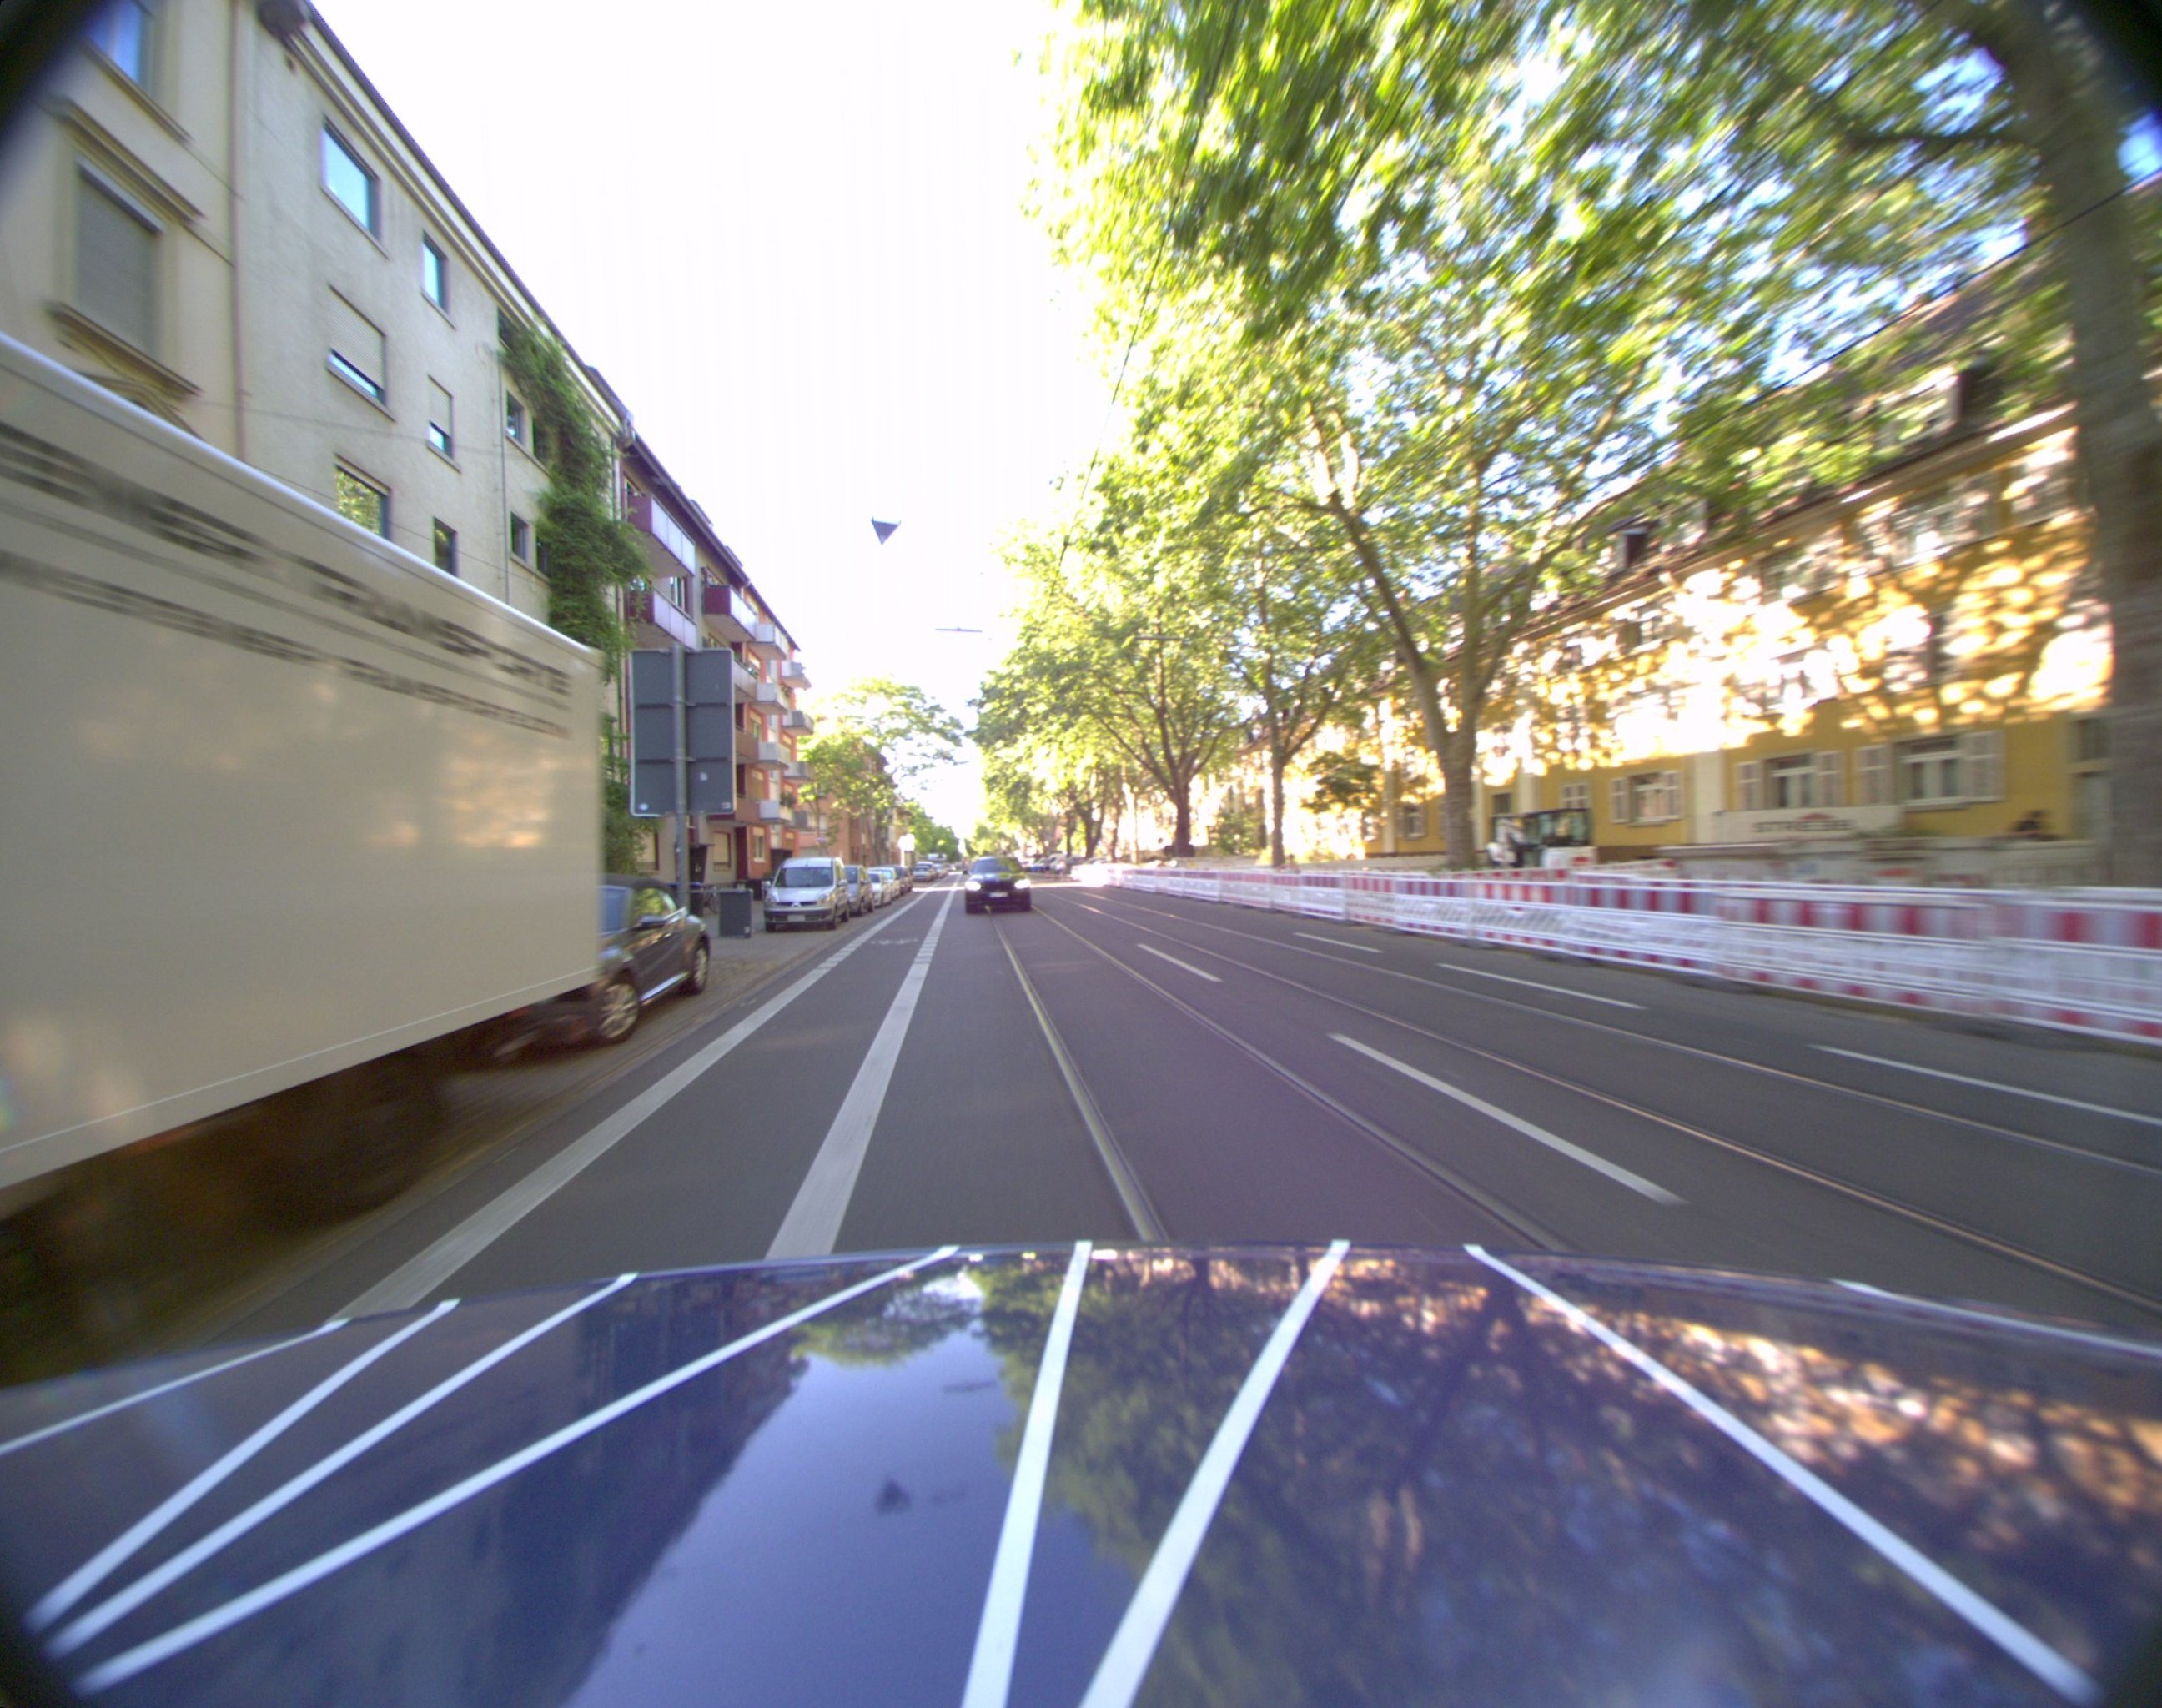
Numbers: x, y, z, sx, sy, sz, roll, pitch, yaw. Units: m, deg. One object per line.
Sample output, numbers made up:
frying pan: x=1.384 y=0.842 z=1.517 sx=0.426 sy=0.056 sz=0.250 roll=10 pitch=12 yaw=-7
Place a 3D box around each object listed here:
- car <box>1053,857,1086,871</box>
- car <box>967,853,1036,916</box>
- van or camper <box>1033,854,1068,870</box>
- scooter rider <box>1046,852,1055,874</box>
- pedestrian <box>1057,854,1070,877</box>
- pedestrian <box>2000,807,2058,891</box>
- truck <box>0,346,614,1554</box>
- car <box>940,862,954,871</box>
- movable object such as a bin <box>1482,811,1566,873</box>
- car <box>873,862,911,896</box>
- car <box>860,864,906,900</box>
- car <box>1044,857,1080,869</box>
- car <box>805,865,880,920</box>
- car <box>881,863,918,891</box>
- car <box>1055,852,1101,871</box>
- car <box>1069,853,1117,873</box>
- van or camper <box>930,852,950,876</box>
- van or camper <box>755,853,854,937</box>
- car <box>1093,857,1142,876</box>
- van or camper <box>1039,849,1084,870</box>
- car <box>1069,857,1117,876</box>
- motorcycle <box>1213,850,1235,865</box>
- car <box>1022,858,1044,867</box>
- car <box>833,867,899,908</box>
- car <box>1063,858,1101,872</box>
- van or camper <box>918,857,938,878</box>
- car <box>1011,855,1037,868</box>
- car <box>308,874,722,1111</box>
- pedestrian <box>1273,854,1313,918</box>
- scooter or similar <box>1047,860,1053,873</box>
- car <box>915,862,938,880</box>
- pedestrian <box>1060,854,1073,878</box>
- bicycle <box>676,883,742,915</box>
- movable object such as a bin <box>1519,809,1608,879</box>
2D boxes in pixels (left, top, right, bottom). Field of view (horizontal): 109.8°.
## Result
car: x=-1.410 y=1.206 z=92.653 sx=3.860 sy=1.653 sz=1.861 roll=-1 pitch=0 yaw=-8
car: x=-2.648 y=0.893 z=24.354 sx=1.925 sy=1.741 sz=4.803 roll=-2 pitch=0 yaw=-9
van or camper: x=-4.428 y=1.158 z=109.657 sx=4.835 sy=2.177 sz=2.118 roll=-2 pitch=0 yaw=-9
scooter rider: x=-2.687 y=0.776 z=66.347 sx=0.651 sy=1.946 sz=0.623 roll=-2 pitch=1 yaw=-8
pedestrian: x=-1.353 y=0.887 z=58.277 sx=0.824 sy=1.735 sz=0.796 roll=-2 pitch=1 yaw=-8
pedestrian: x=19.285 y=-0.099 z=15.465 sx=0.674 sy=1.646 sz=0.670 roll=-2 pitch=1 yaw=-44
truck: x=-4.206 y=0.257 z=1.785 sx=2.546 sy=3.318 sz=7.189 roll=1 pitch=0 yaw=-8
car: x=-21.530 y=2.058 z=122.090 sx=2.000 sy=1.372 sz=4.736 roll=1 pitch=-1 yaw=-9
movable object such as a bin: x=14.121 y=-0.365 z=24.298 sx=1.338 sy=1.858 sz=2.006 roll=-2 pitch=1 yaw=-8
car: x=-9.661 y=1.255 z=39.086 sx=1.531 sy=1.581 sz=3.748 roll=-2 pitch=0 yaw=-10
car: x=-9.087 y=1.250 z=35.051 sx=1.597 sy=1.517 sz=3.832 roll=1 pitch=0 yaw=-8
car: x=-2.418 y=1.093 z=94.614 sx=4.278 sy=1.390 sz=1.752 roll=-1 pitch=0 yaw=-8
car: x=-7.477 y=1.166 z=24.130 sx=1.665 sy=1.571 sz=3.586 roll=0 pitch=0 yaw=-8
car: x=-10.301 y=1.279 z=43.320 sx=1.739 sy=1.453 sz=3.913 roll=1 pitch=-1 yaw=-9
car: x=-0.326 y=0.857 z=84.050 sx=4.673 sy=1.934 sz=1.960 roll=-2 pitch=0 yaw=-11
car: x=1.124 y=0.843 z=71.005 sx=4.213 sy=1.747 sz=1.738 roll=-2 pitch=0 yaw=-10
van or camper: x=-18.521 y=1.302 z=99.955 sx=2.470 sy=3.046 sz=6.263 roll=1 pitch=0 yaw=-10
van or camper: x=-6.818 y=0.932 z=19.130 sx=1.675 sy=1.871 sz=4.207 roll=0 pitch=0 yaw=-11
car: x=3.077 y=1.059 z=64.774 sx=3.860 sy=1.489 sz=1.861 roll=-1 pitch=0 yaw=-8
van or camper: x=-2.521 y=0.664 z=97.207 sx=5.407 sy=2.501 sz=2.443 roll=-2 pitch=0 yaw=-9
car: x=1.072 y=1.117 z=68.566 sx=4.246 sy=1.678 sz=1.933 roll=-1 pitch=0 yaw=-1
motorcycle: x=12.274 y=0.284 z=65.150 sx=1.715 sy=1.234 sz=0.522 roll=-1 pitch=0 yaw=-7
car: x=-9.315 y=1.702 z=147.698 sx=4.174 sy=1.506 sz=1.924 roll=-2 pitch=-1 yaw=-10
car: x=-8.061 y=1.206 z=28.886 sx=1.664 sy=1.391 sz=4.737 roll=1 pitch=-1 yaw=-7
car: x=0.102 y=1.182 z=81.312 sx=3.860 sy=1.489 sz=1.861 roll=-1 pitch=0 yaw=-8
van or camper: x=-14.727 y=1.282 z=73.313 sx=1.761 sy=1.853 sz=4.826 roll=-1 pitch=0 yaw=-9
car: x=-11.620 y=1.494 z=154.764 sx=5.022 sy=2.383 sz=2.027 roll=-2 pitch=-1 yaw=-10
car: x=-5.002 y=1.042 z=7.524 sx=1.737 sy=1.548 sz=4.146 roll=1 pitch=0 yaw=-13
pedestrian: x=5.681 y=0.832 z=20.408 sx=0.719 sy=1.659 sz=0.778 roll=-2 pitch=1 yaw=-8
scooter or similar: x=-2.694 y=1.070 z=66.350 sx=0.409 sy=1.076 sz=1.337 roll=-2 pitch=1 yaw=-8
car: x=-13.740 y=1.491 z=67.752 sx=1.711 sy=1.464 sz=3.997 roll=-1 pitch=0 yaw=-8
pedestrian: x=-1.070 y=0.892 z=57.366 sx=0.824 sy=1.735 sz=0.796 roll=-2 pitch=1 yaw=-8
bicycle: x=-12.188 y=1.468 z=24.932 sx=1.899 sy=1.023 sz=0.476 roll=1 pitch=0 yaw=-3
movable object such as a bin: x=12.010 y=-0.243 z=18.981 sx=1.101 sy=1.636 sz=1.558 roll=-2 pitch=1 yaw=-8
